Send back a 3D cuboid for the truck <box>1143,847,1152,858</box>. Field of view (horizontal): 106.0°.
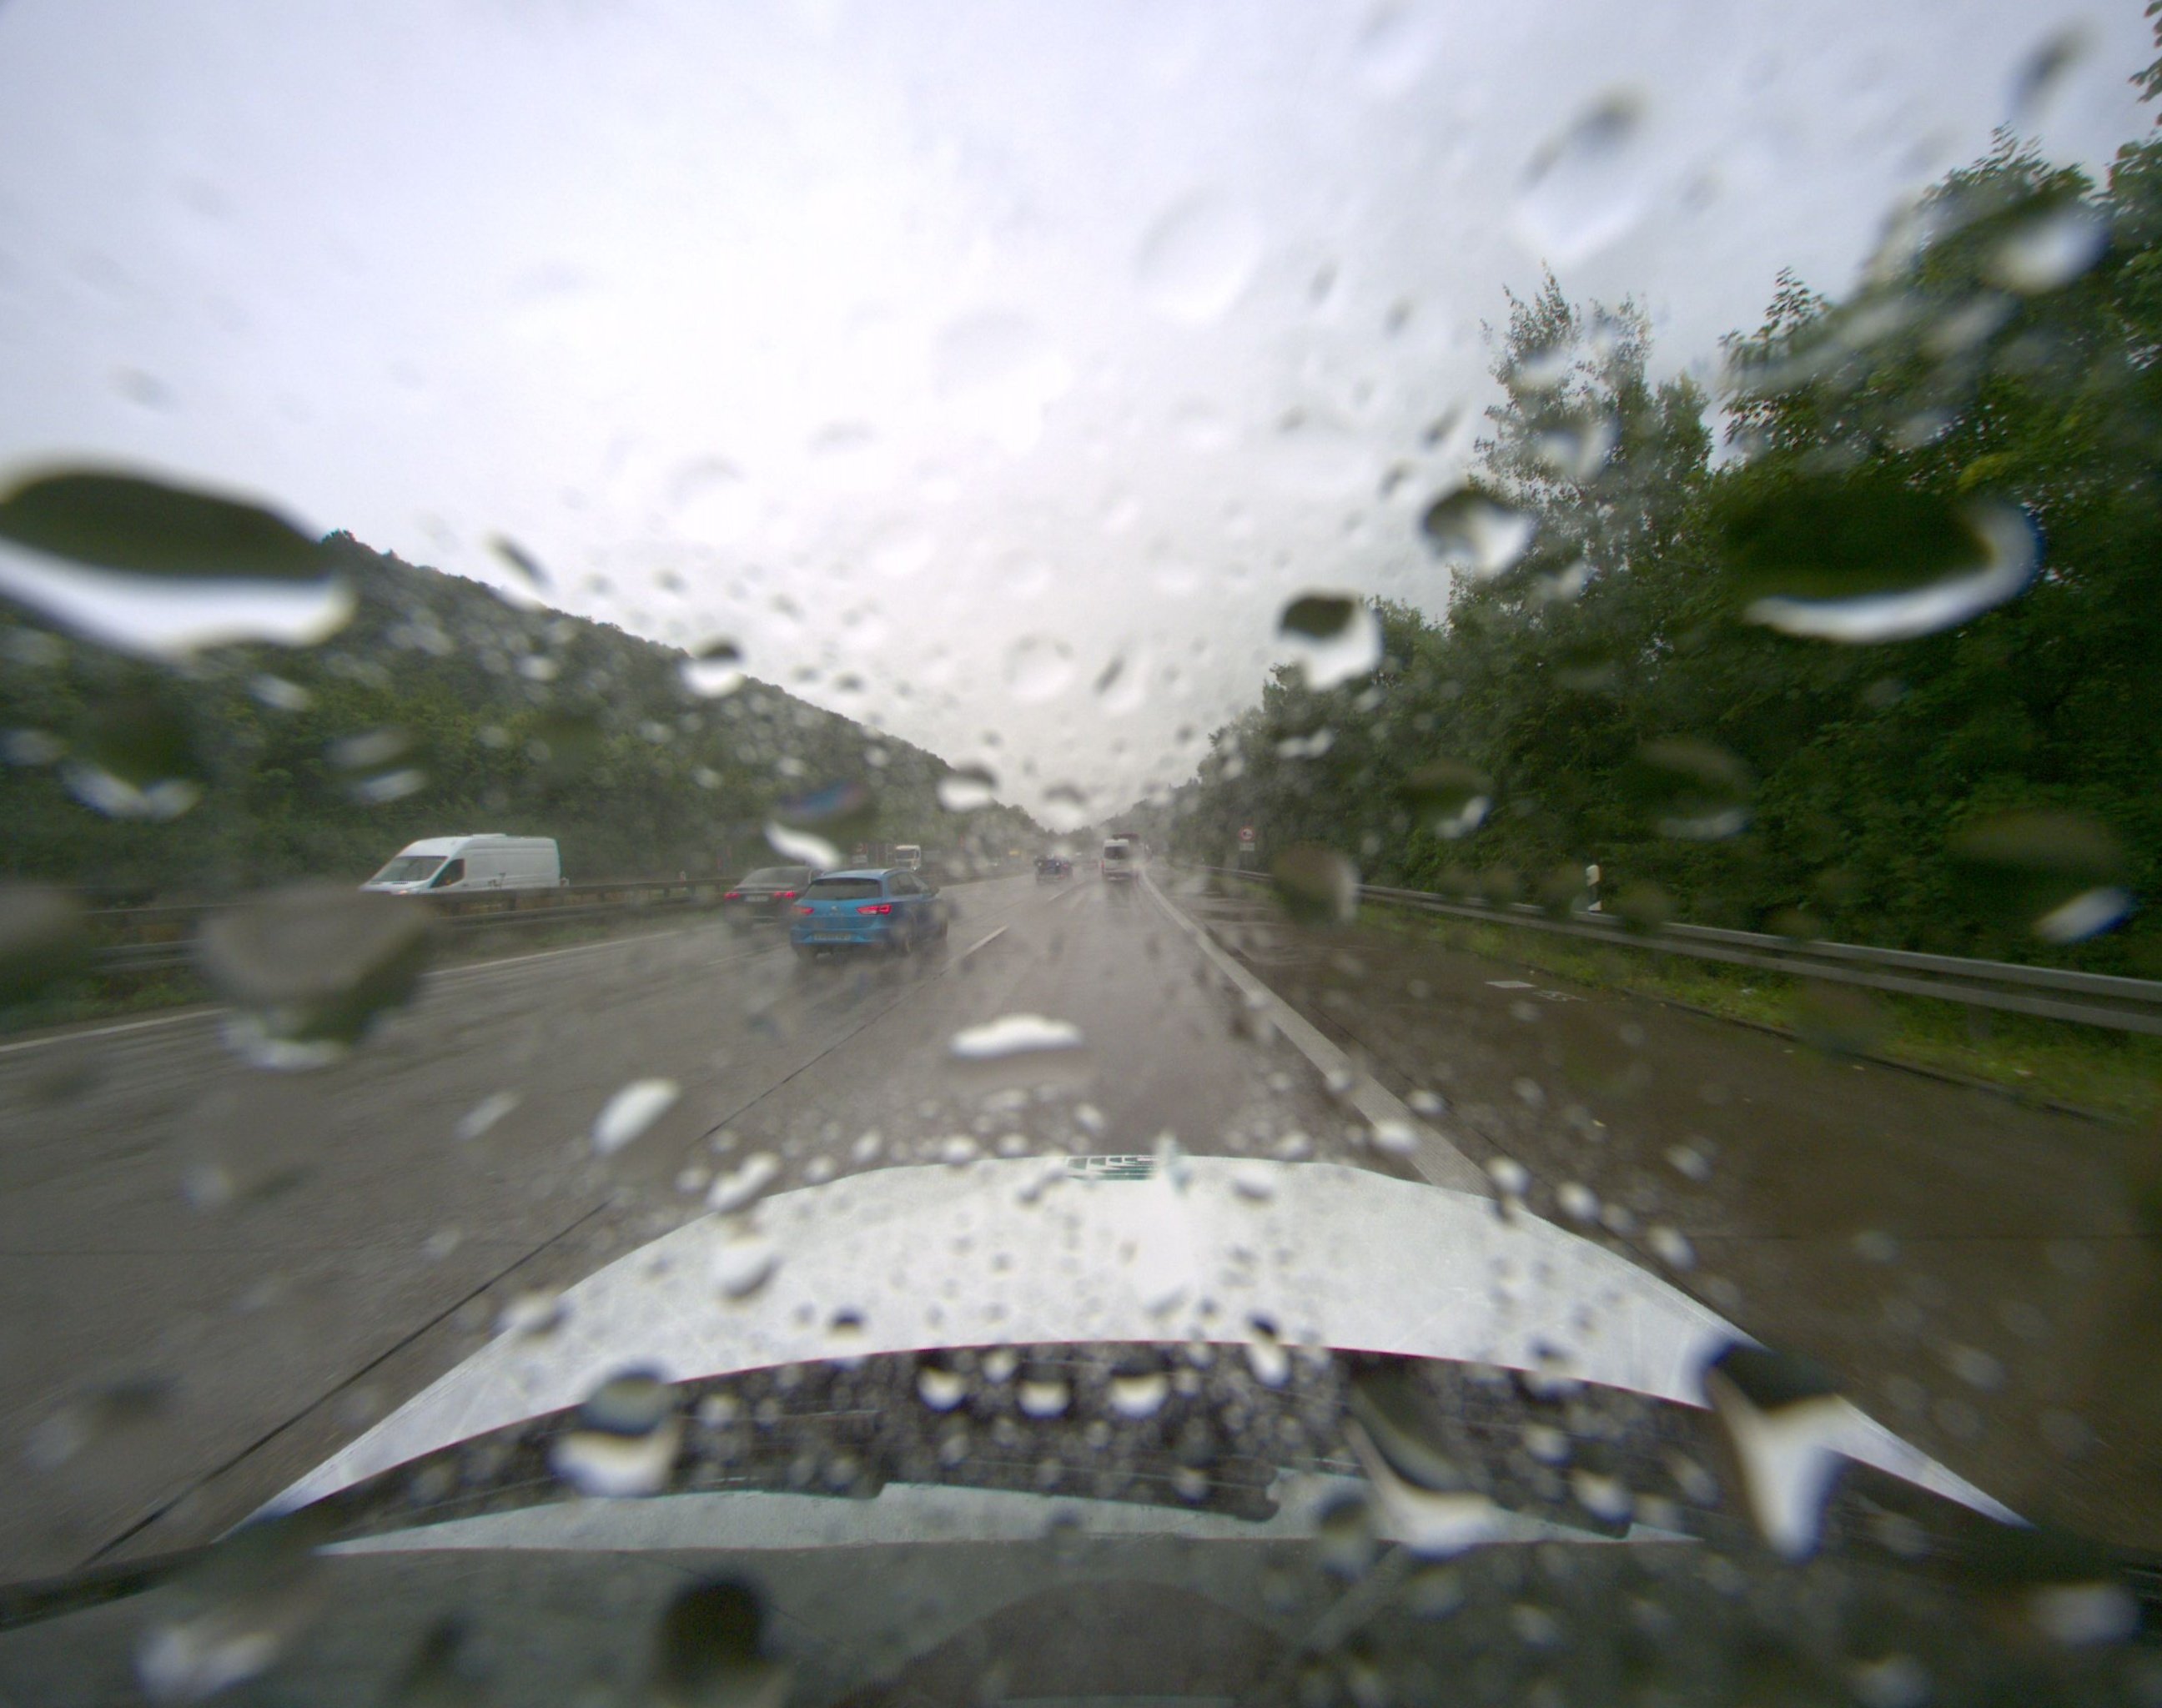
[{"bbox_3d":[18.588,-0.414,228.222,2.574,2.981,9.035,0,0,4],"label":"truck"}]

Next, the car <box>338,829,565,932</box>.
[{"bbox_3d":[-19.908,0.758,26.324,2.080,2.900,6.536,0,0,2],"label":"car"}]

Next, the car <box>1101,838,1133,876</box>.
[{"bbox_3d":[2.372,0.168,52.639,1.891,2.334,5.256,0,0,4],"label":"car"}]

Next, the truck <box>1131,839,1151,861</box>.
[{"bbox_3d":[11.142,-0.631,150.695,3.074,3.910,9.073,0,-1,8],"label":"truck"}]

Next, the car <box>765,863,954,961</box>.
[{"bbox_3d":[-3.476,0.838,13.690,1.849,1.339,4.353,0,0,2],"label":"car"}]

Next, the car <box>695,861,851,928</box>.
[{"bbox_3d":[-6.946,0.858,18.918,1.849,1.339,4.353,0,0,2],"label":"car"}]

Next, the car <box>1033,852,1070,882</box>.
[{"bbox_3d":[-1.803,0.794,50.974,1.860,1.810,4.193,0,0,4],"label":"car"}]

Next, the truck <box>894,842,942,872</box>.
[{"bbox_3d":[-18.797,0.309,94.799,2.763,3.315,11.522,0,0,2],"label":"truck"}]

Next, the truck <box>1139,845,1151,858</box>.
[{"bbox_3d":[15.124,-0.639,190.834,2.572,2.981,9.041,0,0,6],"label":"truck"}]

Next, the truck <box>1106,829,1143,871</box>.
[{"bbox_3d":[4.687,-0.553,85.496,3.369,3.967,8.679,-4,1,5],"label":"truck"}]

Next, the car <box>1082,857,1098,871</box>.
[{"bbox_3d":[1.080,1.133,93.009,1.607,1.628,4.193,0,0,4],"label":"car"}]

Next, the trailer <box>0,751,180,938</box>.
[{"bbox_3d":[-23.976,-0.178,13.561,3.123,3.856,12.880,-1,0,3],"label":"trailer"}]

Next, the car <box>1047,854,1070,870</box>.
[{"bbox_3d":[-2.246,0.831,81.802,1.985,1.530,4.003,-1,0,3],"label":"car"}]
